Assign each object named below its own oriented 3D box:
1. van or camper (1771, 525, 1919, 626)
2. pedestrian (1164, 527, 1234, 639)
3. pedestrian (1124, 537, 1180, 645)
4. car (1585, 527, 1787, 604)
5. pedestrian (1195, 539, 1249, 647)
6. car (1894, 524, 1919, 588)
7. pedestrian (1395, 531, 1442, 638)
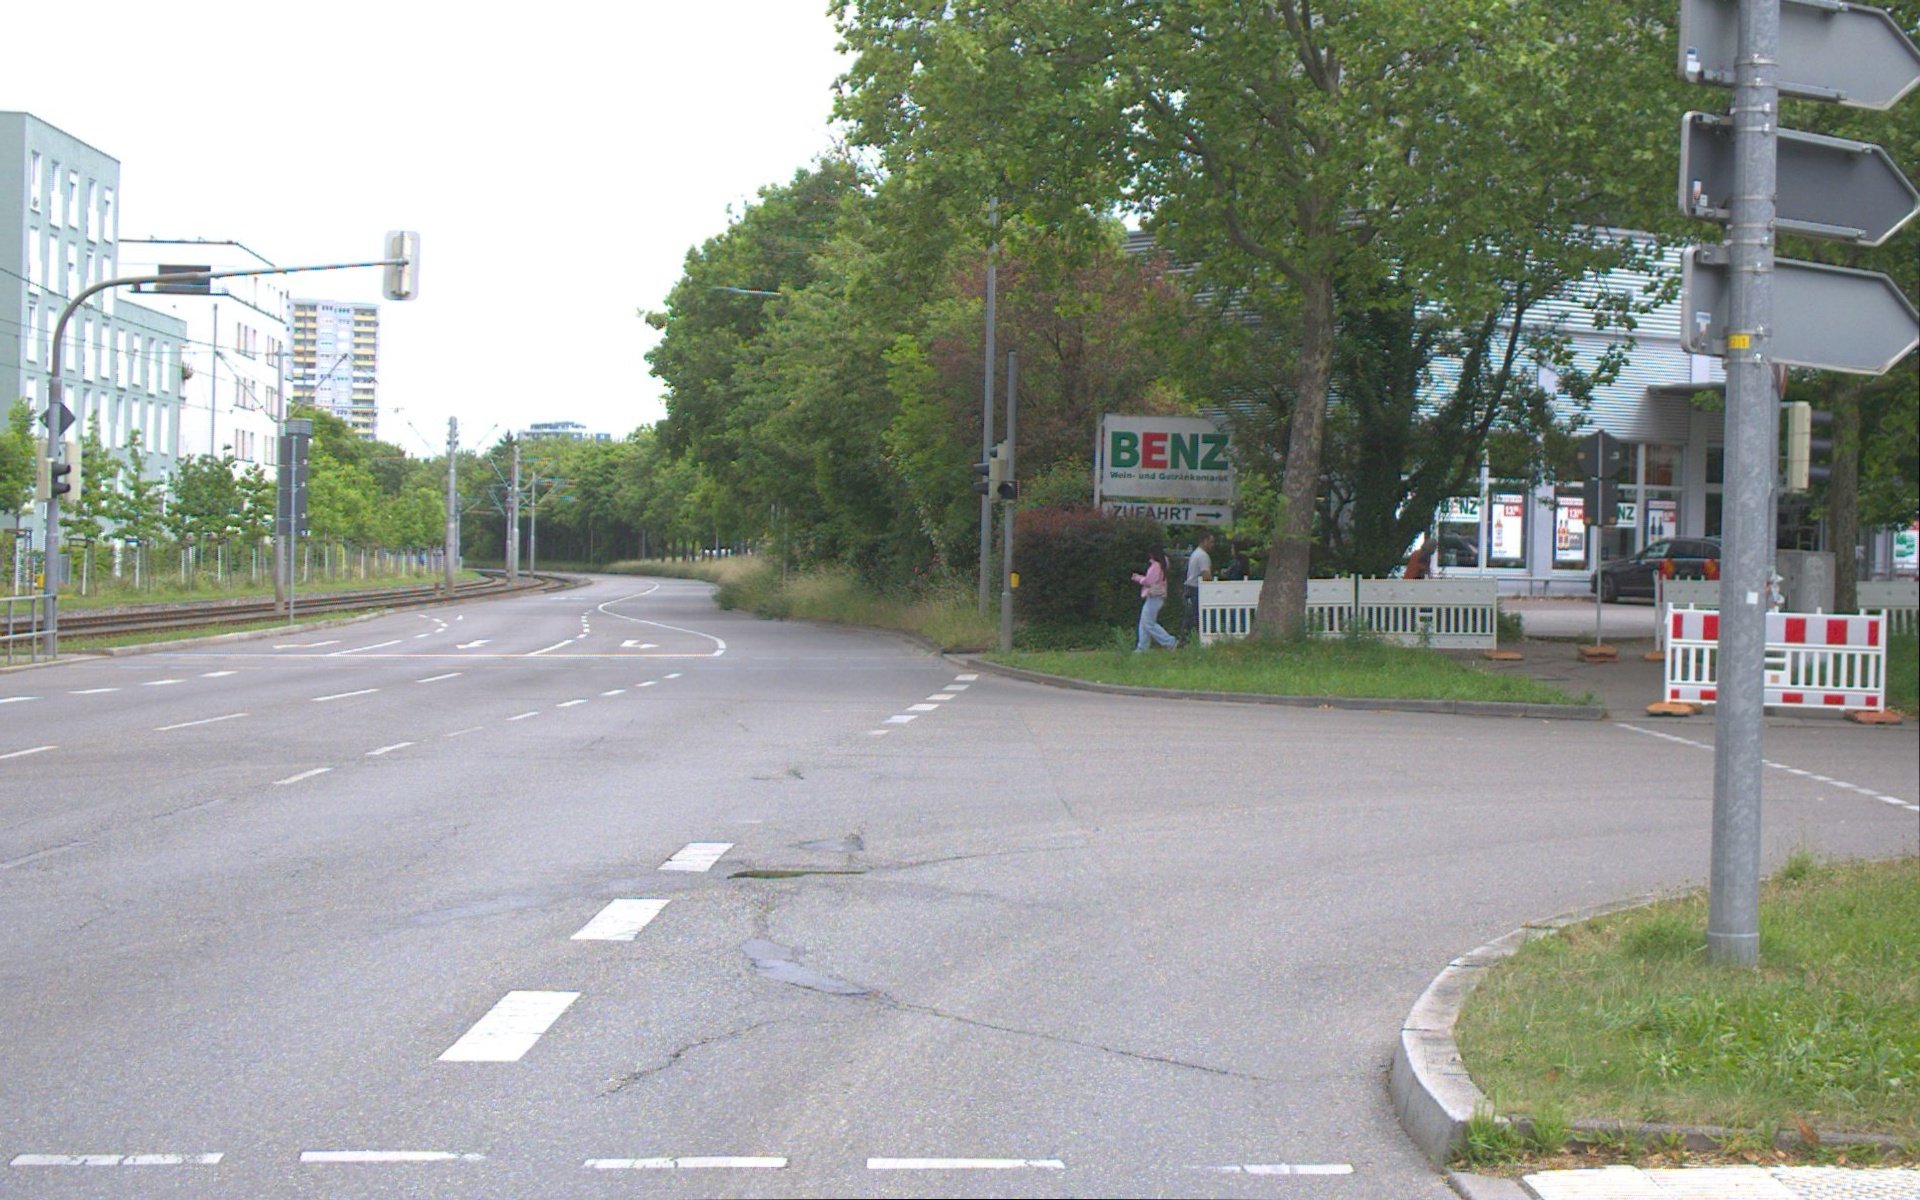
[{"bbox_3d":[16.090,-0.447,59.476,1.840,1.678,4.001,0,1,-27],"label":"van or camper"},{"bbox_3d":[3.416,-0.245,49.155,0.848,1.581,0.796,1,0,-6],"label":"pedestrian"},{"bbox_3d":[2.667,-0.122,47.851,0.697,1.484,0.688,1,0,-2],"label":"pedestrian"},{"bbox_3d":[14.742,-0.691,70.002,1.728,1.495,4.269,1,0,-26],"label":"car"},{"bbox_3d":[3.646,-0.094,47.946,0.697,1.484,0.720,1,0,2],"label":"pedestrian"},{"bbox_3d":[22.364,-0.956,75.658,1.480,1.399,3.409,1,0,-31],"label":"car"},{"bbox_3d":[6.624,-0.220,49.682,0.653,1.533,0.772,1,0,8],"label":"pedestrian"}]
